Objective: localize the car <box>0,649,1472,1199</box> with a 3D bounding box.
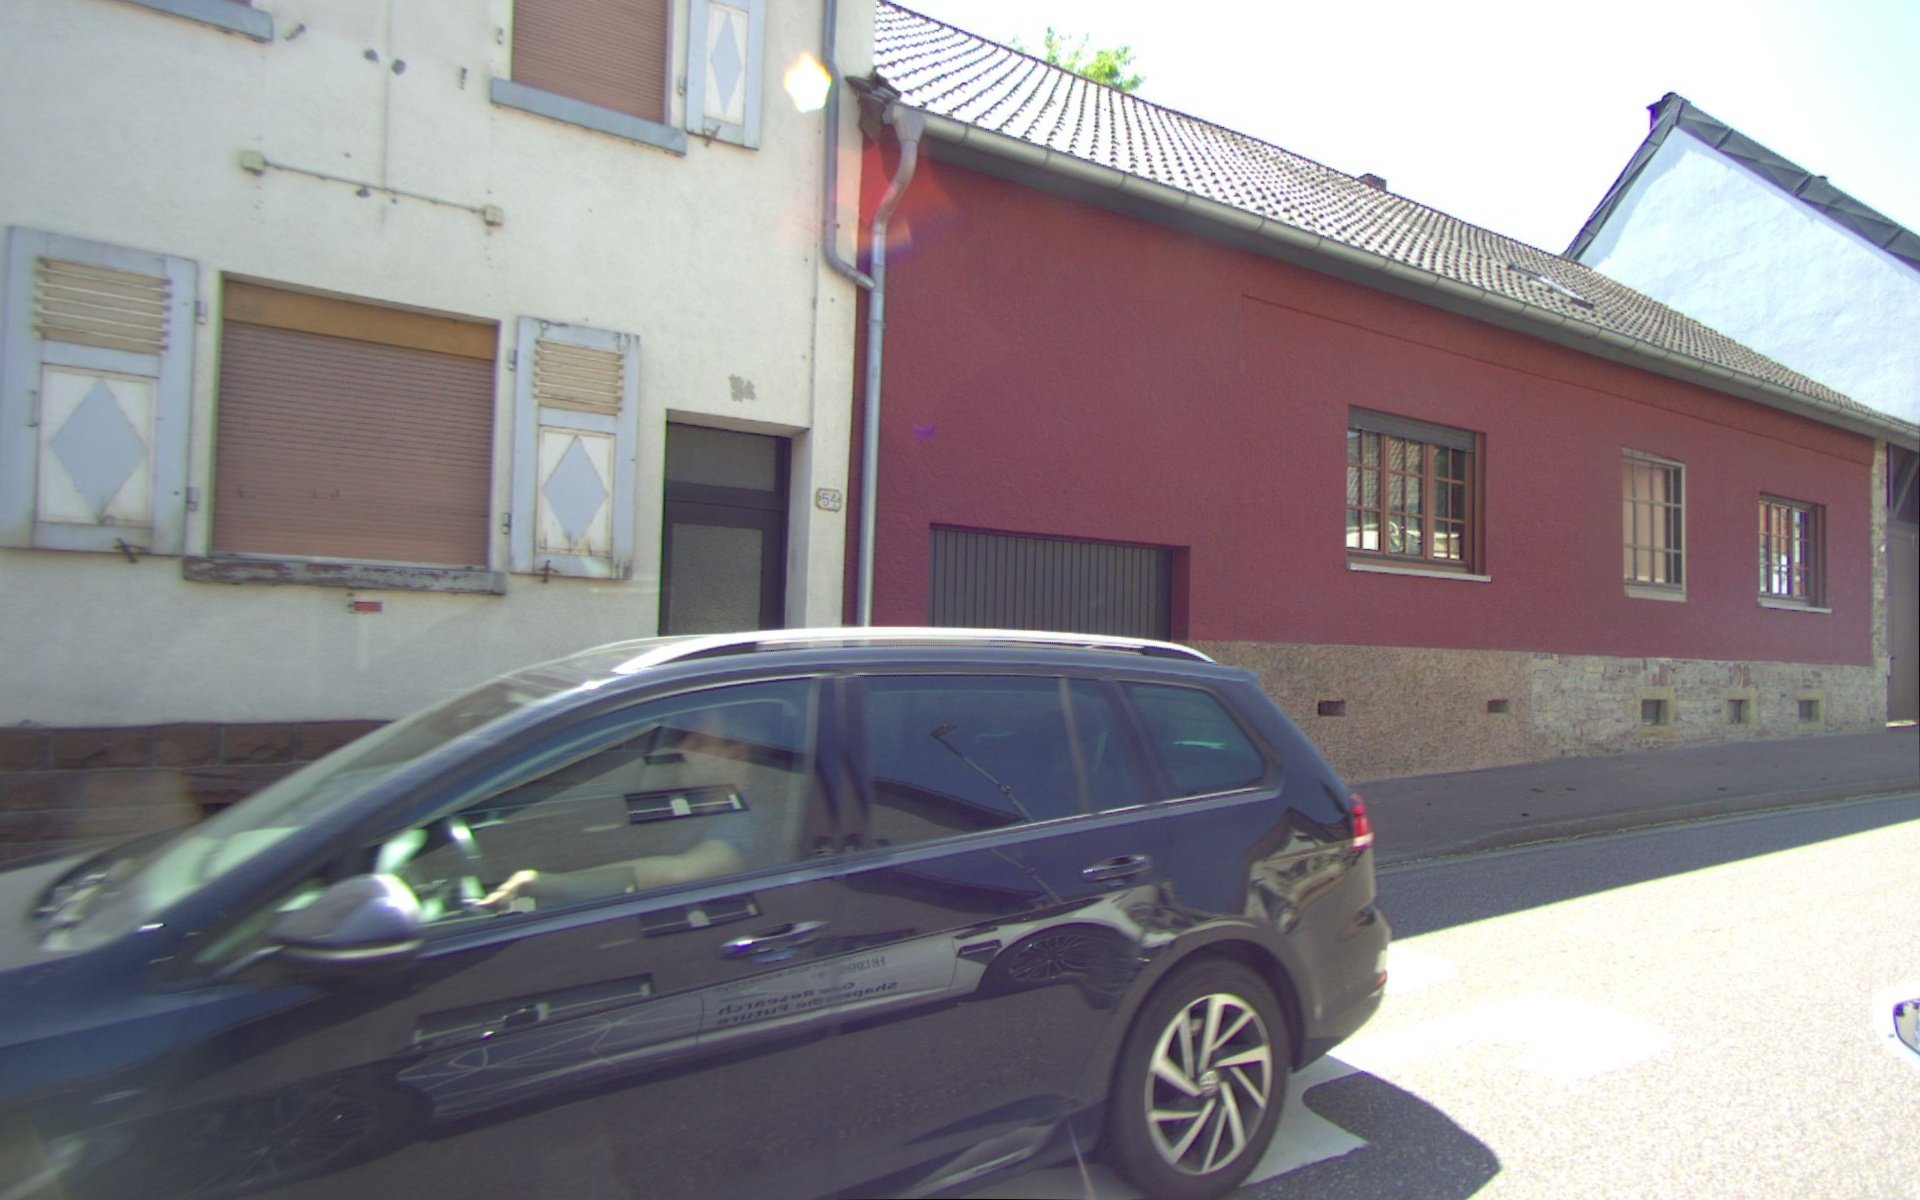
[{"bbox_3d":[-0.642,0.853,2.717,4.153,1.428,1.686,2,-3,-32],"label":"car"}]
